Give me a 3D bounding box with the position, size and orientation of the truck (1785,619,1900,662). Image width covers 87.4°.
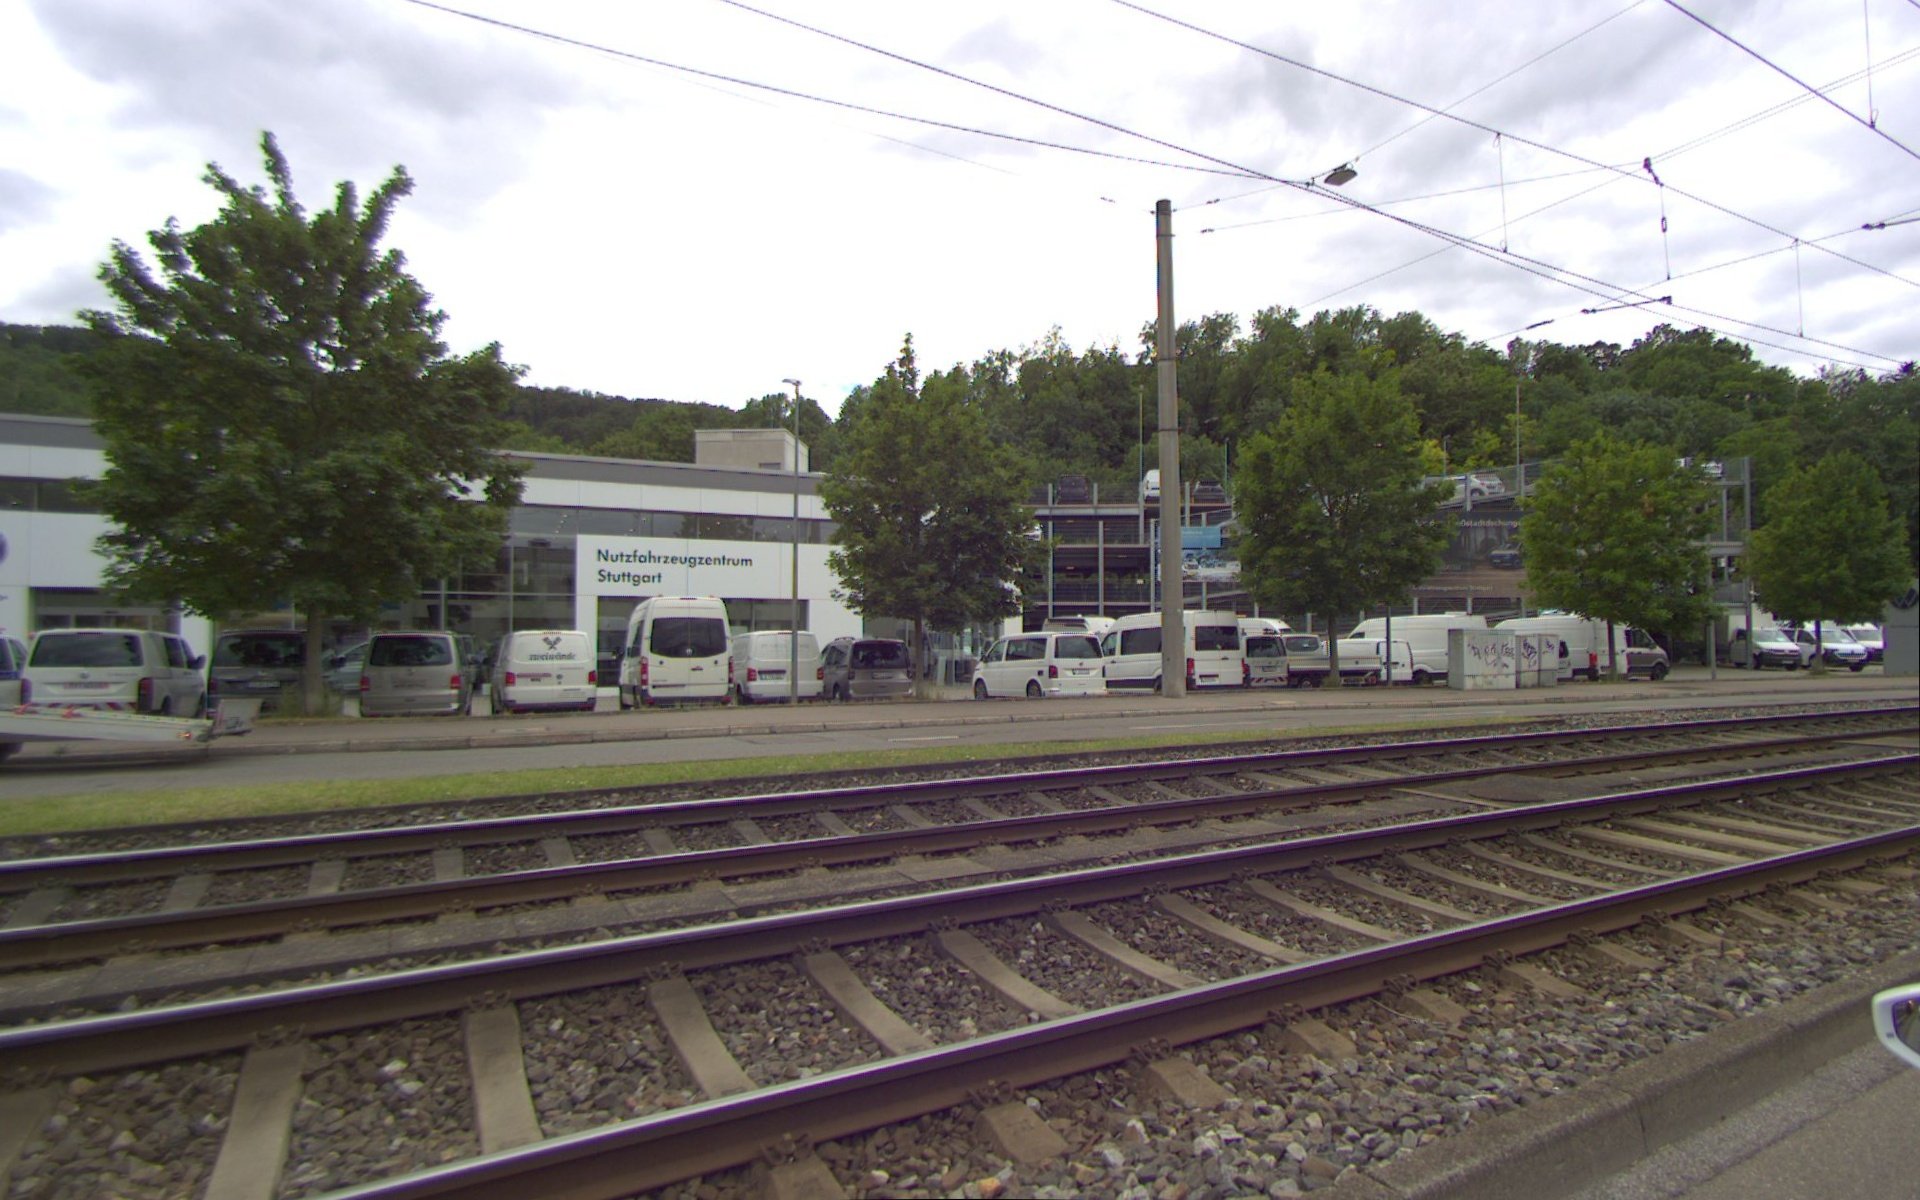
[{"bbox_3d":[56.466,2.563,64.463,2.419,2.622,5.781,0,-2,2],"label":"truck"}]

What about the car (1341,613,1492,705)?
[{"bbox_3d":[15.164,1.922,33.604,1.978,2.856,4.350,1,-2,-27],"label":"car"}]

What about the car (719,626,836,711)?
[{"bbox_3d":[-4.549,1.590,24.481,1.975,1.869,4.357,1,-2,-22],"label":"car"}]

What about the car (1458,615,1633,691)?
[{"bbox_3d":[21.760,1.931,37.640,2.215,2.636,5.461,1,-2,-23],"label":"car"}]

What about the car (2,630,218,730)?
[{"bbox_3d":[-15.692,1.388,18.858,1.977,1.639,4.353,1,-2,-25],"label":"car"}]

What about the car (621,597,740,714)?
[{"bbox_3d":[-6.434,1.200,22.765,2.094,2.342,4.488,1,-2,-22],"label":"car"}]

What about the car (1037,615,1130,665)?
[{"bbox_3d":[5.239,1.723,43.449,1.970,2.040,4.836,1,-2,-21],"label":"car"}]

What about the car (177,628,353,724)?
[{"bbox_3d":[-13.856,1.434,20.340,1.975,1.708,4.357,1,-2,-22],"label":"car"}]

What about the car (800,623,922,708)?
[{"bbox_3d":[-2.648,1.606,25.780,1.975,1.973,4.357,1,-2,-22],"label":"car"}]

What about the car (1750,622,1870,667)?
[{"bbox_3d":[40.824,2.119,48.403,1.960,2.040,4.734,0,-2,4],"label":"car"}]

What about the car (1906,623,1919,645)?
[{"bbox_3d":[90.389,3.183,92.566,4.314,2.040,2.001,0,-1,8],"label":"car"}]

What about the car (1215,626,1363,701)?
[{"bbox_3d":[10.305,1.930,31.815,1.978,2.201,4.350,1,-2,-27],"label":"car"}]

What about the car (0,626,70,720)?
[{"bbox_3d":[-17.802,1.277,17.636,1.971,1.639,3.980,1,-2,-21],"label":"car"}]

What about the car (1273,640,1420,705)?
[{"bbox_3d":[12.635,2.313,33.145,1.978,1.936,4.350,1,-2,-27],"label":"car"}]

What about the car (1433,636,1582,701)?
[{"bbox_3d":[19.507,2.381,36.010,1.978,2.133,4.350,1,-2,-27],"label":"car"}]

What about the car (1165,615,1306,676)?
[{"bbox_3d":[12.425,2.020,45.575,5.859,2.636,1.996,-1,-2,38],"label":"car"}]

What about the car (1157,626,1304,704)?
[{"bbox_3d":[8.190,1.912,30.843,1.978,2.201,4.350,1,-2,-27],"label":"car"}]

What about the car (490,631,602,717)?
[{"bbox_3d":[-9.242,1.536,22.218,2.005,1.711,4.351,1,-2,-26],"label":"car"}]

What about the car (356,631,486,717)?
[{"bbox_3d":[-11.432,1.494,21.596,1.975,1.639,4.357,1,-2,-22],"label":"car"}]

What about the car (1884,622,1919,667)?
[{"bbox_3d":[45.715,2.069,47.012,4.853,2.040,1.988,1,-2,-26],"label":"car"}]

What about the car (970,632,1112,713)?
[{"bbox_3d":[2.146,1.909,27.840,1.978,2.037,4.350,1,-2,-27],"label":"car"}]

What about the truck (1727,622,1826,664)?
[{"bbox_3d":[53.490,2.796,65.982,2.419,2.622,5.074,0,-2,2],"label":"truck"}]

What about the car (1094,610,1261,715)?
[{"bbox_3d":[6.147,1.725,29.040,2.088,2.734,4.948,1,-2,-27],"label":"car"}]

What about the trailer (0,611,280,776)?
[{"bbox_3d":[-11.755,1.017,10.940,6.856,1.720,2.375,1,-4,-26],"label":"trailer"}]

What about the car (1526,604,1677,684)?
[{"bbox_3d":[25.947,1.756,40.623,5.849,3.059,2.104,1,-2,-22],"label":"car"}]

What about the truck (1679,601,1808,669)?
[{"bbox_3d":[37.871,1.696,48.809,2.077,3.125,5.943,0,-2,6],"label":"truck"}]
